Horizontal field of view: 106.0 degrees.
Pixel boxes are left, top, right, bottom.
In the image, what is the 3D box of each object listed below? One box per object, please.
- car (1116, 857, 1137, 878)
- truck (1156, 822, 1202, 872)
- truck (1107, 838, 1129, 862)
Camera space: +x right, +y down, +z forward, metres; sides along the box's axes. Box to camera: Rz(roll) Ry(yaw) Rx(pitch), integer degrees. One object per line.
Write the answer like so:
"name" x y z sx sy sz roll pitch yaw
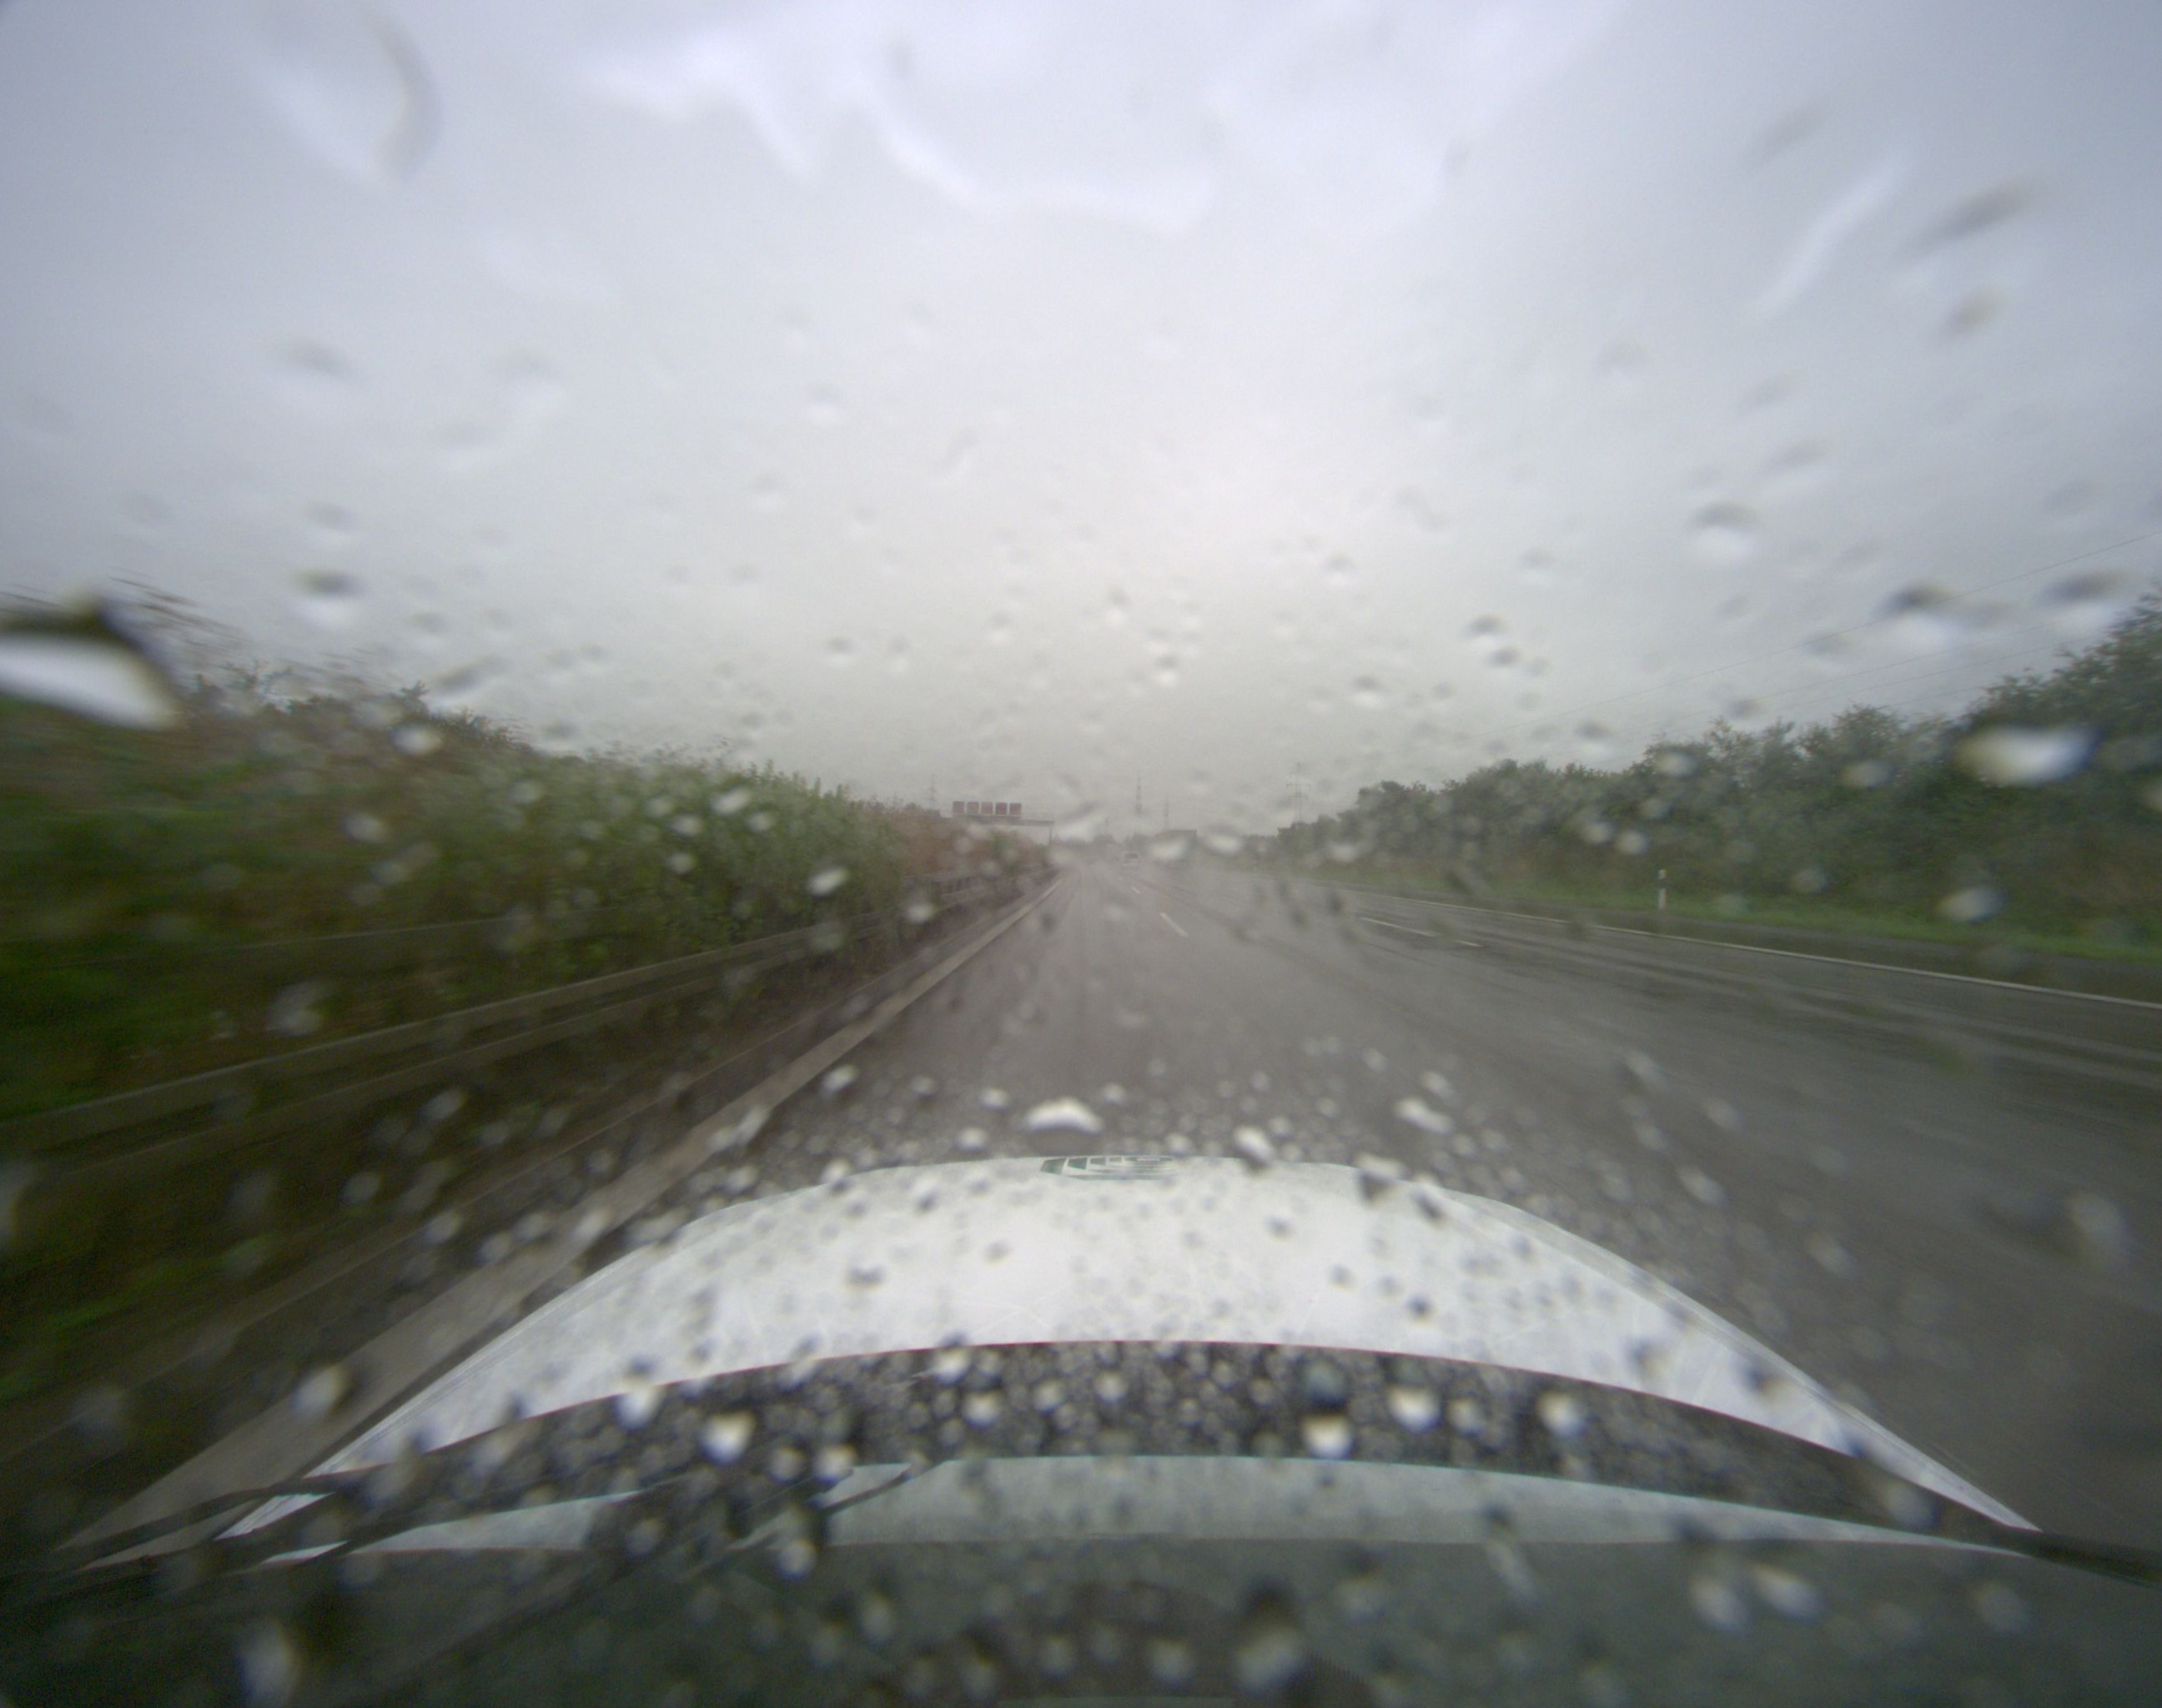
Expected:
"car" 4.530 1.279 79.974 1.985 2.013 4.004 -1 0 3
"truck" 9.811 -0.627 83.529 4.169 4.630 16.128 0 0 5
"truck" 6.881 -0.771 152.591 3.225 4.311 8.827 -1 0 -3
